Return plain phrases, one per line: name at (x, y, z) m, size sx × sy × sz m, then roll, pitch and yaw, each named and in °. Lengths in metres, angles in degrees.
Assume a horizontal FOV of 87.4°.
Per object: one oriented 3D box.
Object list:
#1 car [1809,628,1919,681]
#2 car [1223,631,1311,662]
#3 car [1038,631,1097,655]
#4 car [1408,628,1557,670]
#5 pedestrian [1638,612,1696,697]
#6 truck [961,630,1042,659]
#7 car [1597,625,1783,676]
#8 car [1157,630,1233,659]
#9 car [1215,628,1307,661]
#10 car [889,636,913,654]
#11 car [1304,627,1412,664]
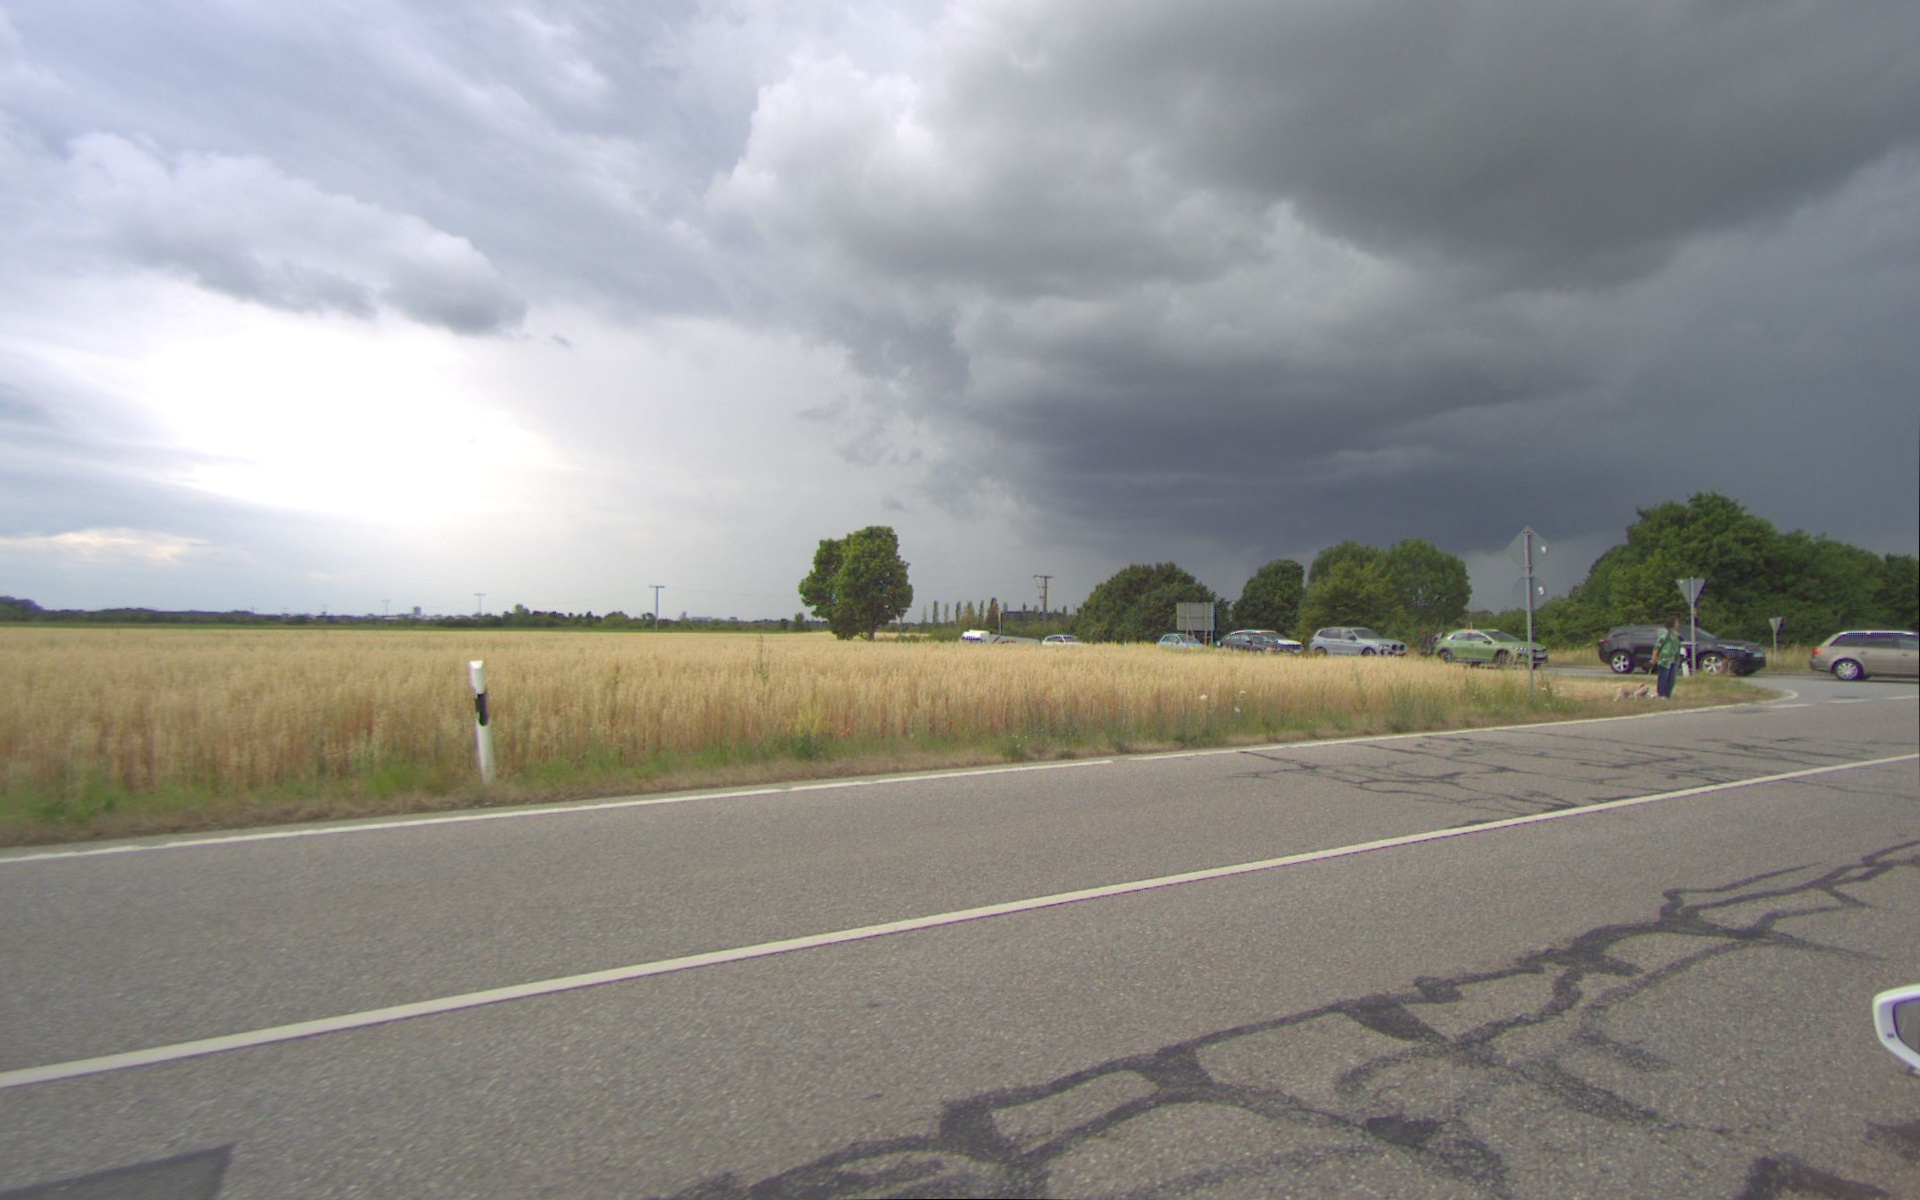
car at (27.358, 1.553, 28.742) m, size 1.894 × 1.443 × 4.417 m, roll 2°, pitch -2°, yaw -38°
car at (15.724, 2.365, 51.663) m, size 1.884 × 1.502 × 4.480 m, roll 1°, pitch -1°, yaw -24°
car at (7.278, 2.911, 68.439) m, size 1.886 × 1.502 × 4.475 m, roll 1°, pitch -1°, yaw -27°
car at (20.737, 1.899, 40.155) m, size 1.884 × 1.541 × 5.272 m, roll 1°, pitch -1°, yaw -24°
pedestrian at (13.899, 1.074, 19.747) m, size 0.857 × 1.626 × 0.590 m, roll 1°, pitch -4°, yaw -33°
truck at (5.165, 5.147, 118.969) m, size 2.749 × 3.174 × 16.299 m, roll 0°, pitch -2°, yaw 28°
car at (24.091, 1.616, 33.396) m, size 1.884 × 1.552 × 4.728 m, roll 1°, pitch -1°, yaw -24°
car at (13.226, 2.481, 56.870) m, size 1.884 × 1.502 × 4.480 m, roll 1°, pitch -1°, yaw -24°
car at (14.425, 2.122, 48.401) m, size 1.884 × 1.502 × 4.387 m, roll 1°, pitch -1°, yaw -24°
car at (-5.877, 4.508, 100.390) m, size 1.873 × 1.703 × 4.508 m, roll 1°, pitch -1°, yaw 3°
car at (18.020, 2.043, 45.671) m, size 1.884 × 1.537 × 4.612 m, roll 1°, pitch -1°, yaw -24°
